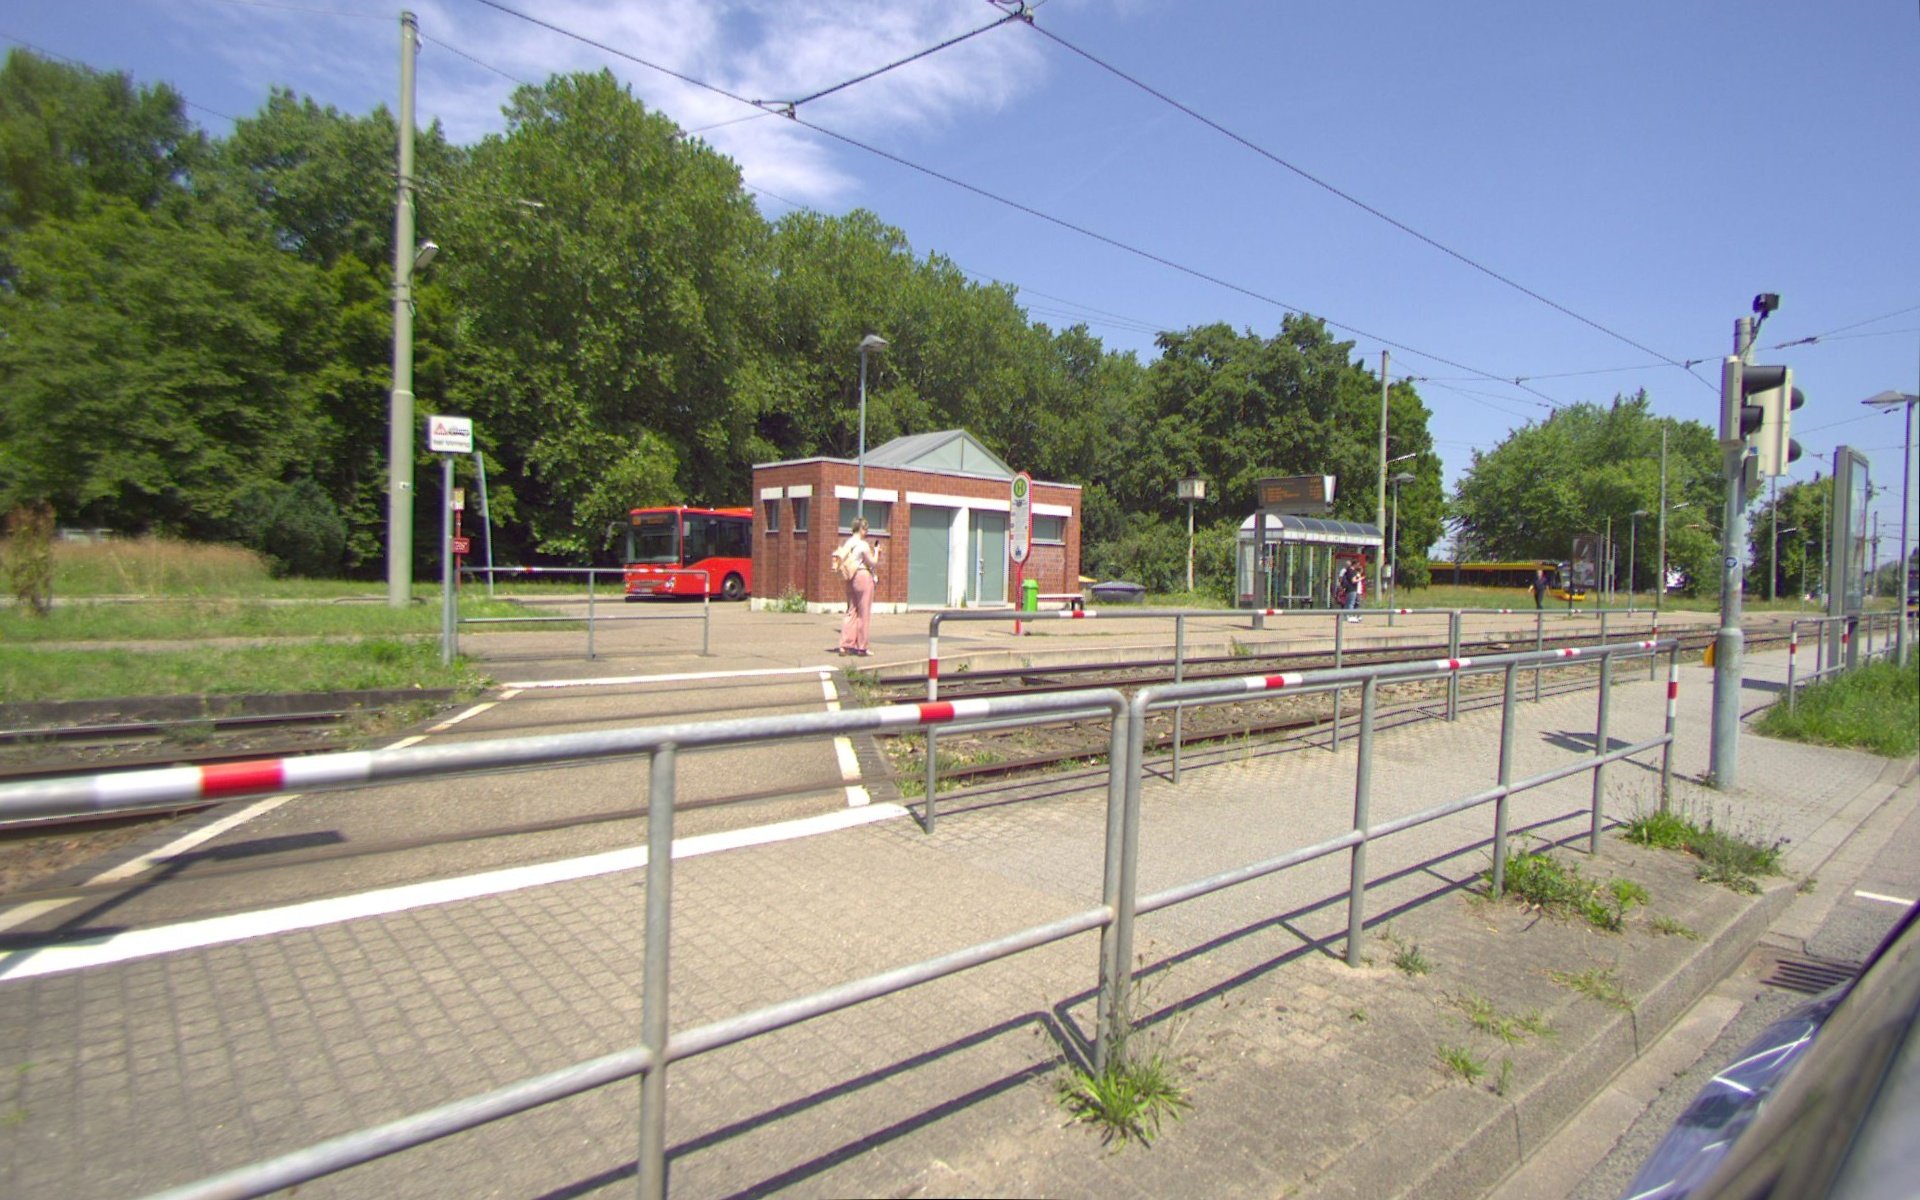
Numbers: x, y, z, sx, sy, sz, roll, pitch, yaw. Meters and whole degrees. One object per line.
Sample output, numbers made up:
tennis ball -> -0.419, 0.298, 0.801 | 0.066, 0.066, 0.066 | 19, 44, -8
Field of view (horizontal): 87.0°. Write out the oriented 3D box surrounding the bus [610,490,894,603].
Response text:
bus -> -6.975, -1.785, 37.089 | 2.745, 3.481, 12.315 | 0, 1, 30

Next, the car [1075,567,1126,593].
car -> 9.036, -1.288, 64.846 | 1.873, 1.529, 3.958 | 3, 2, 30

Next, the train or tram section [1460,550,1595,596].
train or tram section -> 49.248, -2.352, 88.573 | 2.660, 3.694, 13.209 | 0, 1, -9

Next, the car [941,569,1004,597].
car -> 0.645, -0.859, 50.536 | 1.558, 1.281, 3.964 | 3, 2, 27

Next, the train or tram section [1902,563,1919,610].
train or tram section -> 72.586, -0.949, 75.413 | 7.130, 3.363, 2.524 | 0, 2, -40

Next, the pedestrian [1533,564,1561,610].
pedestrian -> 23.491, -0.530, 40.499 | 0.645, 1.786, 0.708 | 0, 2, -38

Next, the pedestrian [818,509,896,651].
pedestrian -> -1.335, -0.257, 13.211 | 0.633, 1.781, 0.806 | 0, 1, 36

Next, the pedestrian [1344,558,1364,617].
pedestrian -> 11.345, -0.356, 29.104 | 0.437, 1.667, 0.361 | -1, 1, -37

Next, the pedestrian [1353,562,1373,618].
pedestrian -> 11.714, -0.296, 29.417 | 0.474, 1.616, 0.361 | -1, 1, -37

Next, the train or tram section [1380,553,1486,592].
train or tram section -> 47.139, -2.714, 101.571 | 2.660, 3.694, 13.275 | 0, 1, -9

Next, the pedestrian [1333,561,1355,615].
pedestrian -> 12.966, -0.399, 34.162 | 0.726, 1.796, 0.382 | -1, 1, -37
